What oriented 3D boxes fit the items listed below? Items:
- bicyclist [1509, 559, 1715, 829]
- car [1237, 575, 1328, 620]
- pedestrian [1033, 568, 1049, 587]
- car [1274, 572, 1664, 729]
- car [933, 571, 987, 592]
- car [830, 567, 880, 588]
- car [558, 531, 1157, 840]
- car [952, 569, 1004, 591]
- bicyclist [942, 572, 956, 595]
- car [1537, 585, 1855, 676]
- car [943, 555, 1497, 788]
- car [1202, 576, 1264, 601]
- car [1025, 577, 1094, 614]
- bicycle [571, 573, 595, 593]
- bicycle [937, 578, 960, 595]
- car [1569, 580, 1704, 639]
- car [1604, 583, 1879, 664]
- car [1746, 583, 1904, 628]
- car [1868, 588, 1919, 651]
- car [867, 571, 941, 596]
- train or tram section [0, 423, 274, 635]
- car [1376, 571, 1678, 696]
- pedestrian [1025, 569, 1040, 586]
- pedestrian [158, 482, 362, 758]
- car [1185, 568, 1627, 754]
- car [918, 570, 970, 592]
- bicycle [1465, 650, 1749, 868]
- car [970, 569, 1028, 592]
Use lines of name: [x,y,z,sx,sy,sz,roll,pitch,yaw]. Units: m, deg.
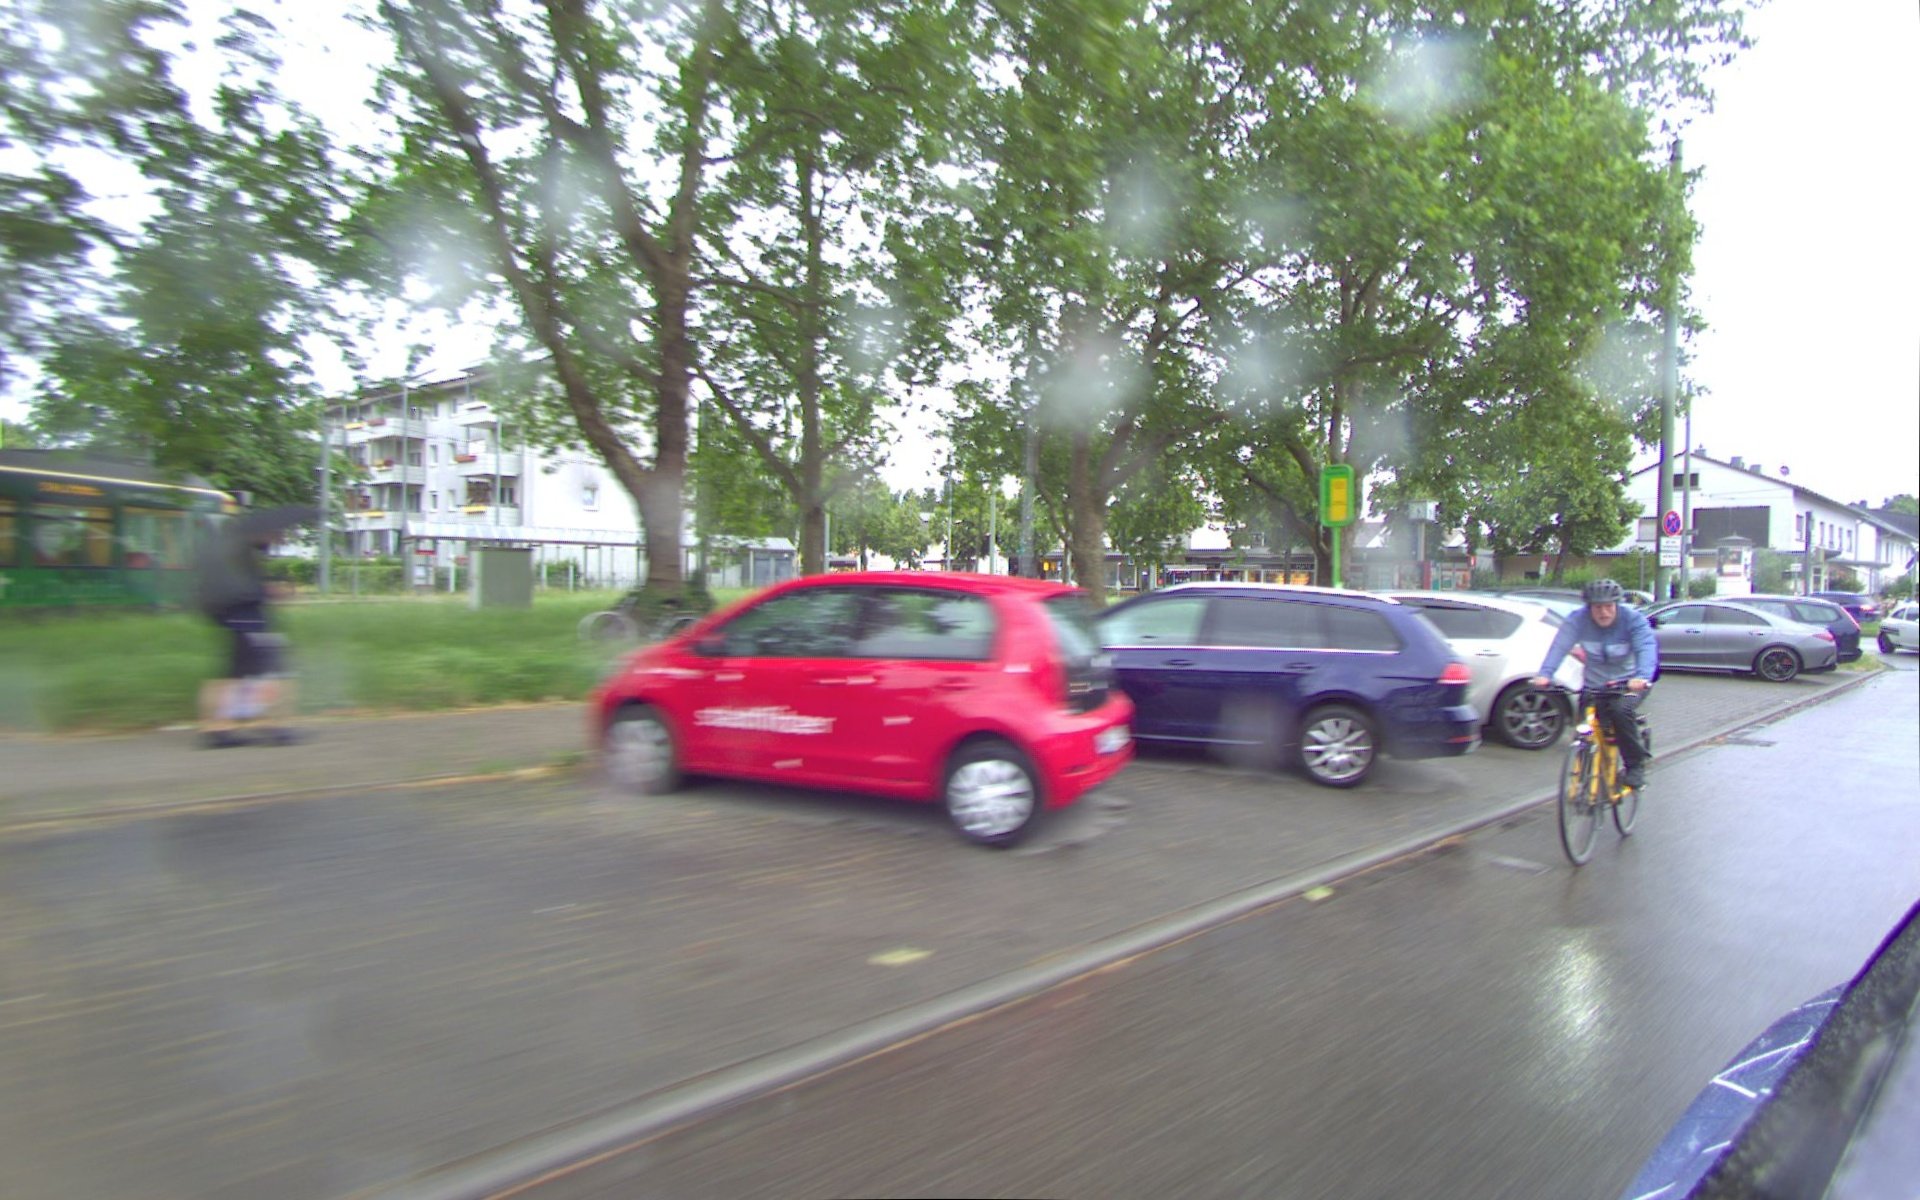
bicyclist: [3.962,0.520,6.165,0.830,1.504,0.753,2,0,-34]
car: [16.357,-0.172,51.414,1.965,2.038,3.996,-3,4,-39]
pedestrian: [7.539,-2.074,94.422,1.058,1.735,0.949,0,2,-29]
car: [6.213,0.549,12.835,3.935,1.518,1.821,4,3,9]
car: [0.021,-1.528,81.993,4.021,1.590,1.997,-2,3,-41]
car: [-9.887,-2.153,95.554,4.471,1.967,1.896,-2,2,-42]
car: [-0.661,0.381,6.650,3.559,1.498,1.625,3,2,23]
car: [1.437,-1.588,80.065,3.880,1.694,1.791,-2,2,-41]
bicyclist: [-0.748,-1.112,68.615,0.719,1.535,0.691,0,1,31]
car: [13.695,0.509,19.186,4.492,1.494,1.793,1,1,20]
car: [2.081,0.459,8.653,4.067,1.498,1.857,3,2,17]
car: [17.552,-0.749,65.055,3.596,1.521,1.535,1,3,33]
car: [6.101,-0.319,62.268,1.965,2.038,3.996,-3,4,-39]
bicycle: [-18.453,-0.833,49.520,1.299,0.959,0.412,1,3,35]
bicycle: [-0.762,-0.902,68.579,0.722,1.144,1.735,0,1,31]
car: [26.616,0.301,39.943,1.962,2.038,4.003,-3,4,-33]
car: [16.095,0.432,21.119,4.123,1.494,1.793,1,1,19]
car: [35.782,0.168,41.997,1.961,1.625,4.577,-2,3,-32]
car: [26.255,0.571,26.615,1.937,1.571,3.980,2,3,17]
car: [-3.791,-1.122,68.605,4.755,1.476,1.998,2,0,-40]
train or tram section: [-17.867,-1.181,16.200,2.667,3.634,14.720,0,1,5]
car: [8.253,0.423,15.076,3.464,1.524,1.748,3,3,13]
pedestrian: [6.867,-2.127,95.665,1.058,1.603,0.949,0,2,-29]
pedestrian: [-4.912,0.103,7.092,1.061,1.735,1.046,0,2,-41]
car: [4.459,0.530,10.833,3.939,1.571,1.954,2,3,13]
car: [-1.297,-1.628,83.968,4.021,1.730,1.896,-2,2,-41]
bicycle: [3.991,0.882,6.197,1.889,1.086,0.755,1,0,-34]
car: [3.035,-1.517,78.238,4.263,1.694,1.997,-2,2,-41]
